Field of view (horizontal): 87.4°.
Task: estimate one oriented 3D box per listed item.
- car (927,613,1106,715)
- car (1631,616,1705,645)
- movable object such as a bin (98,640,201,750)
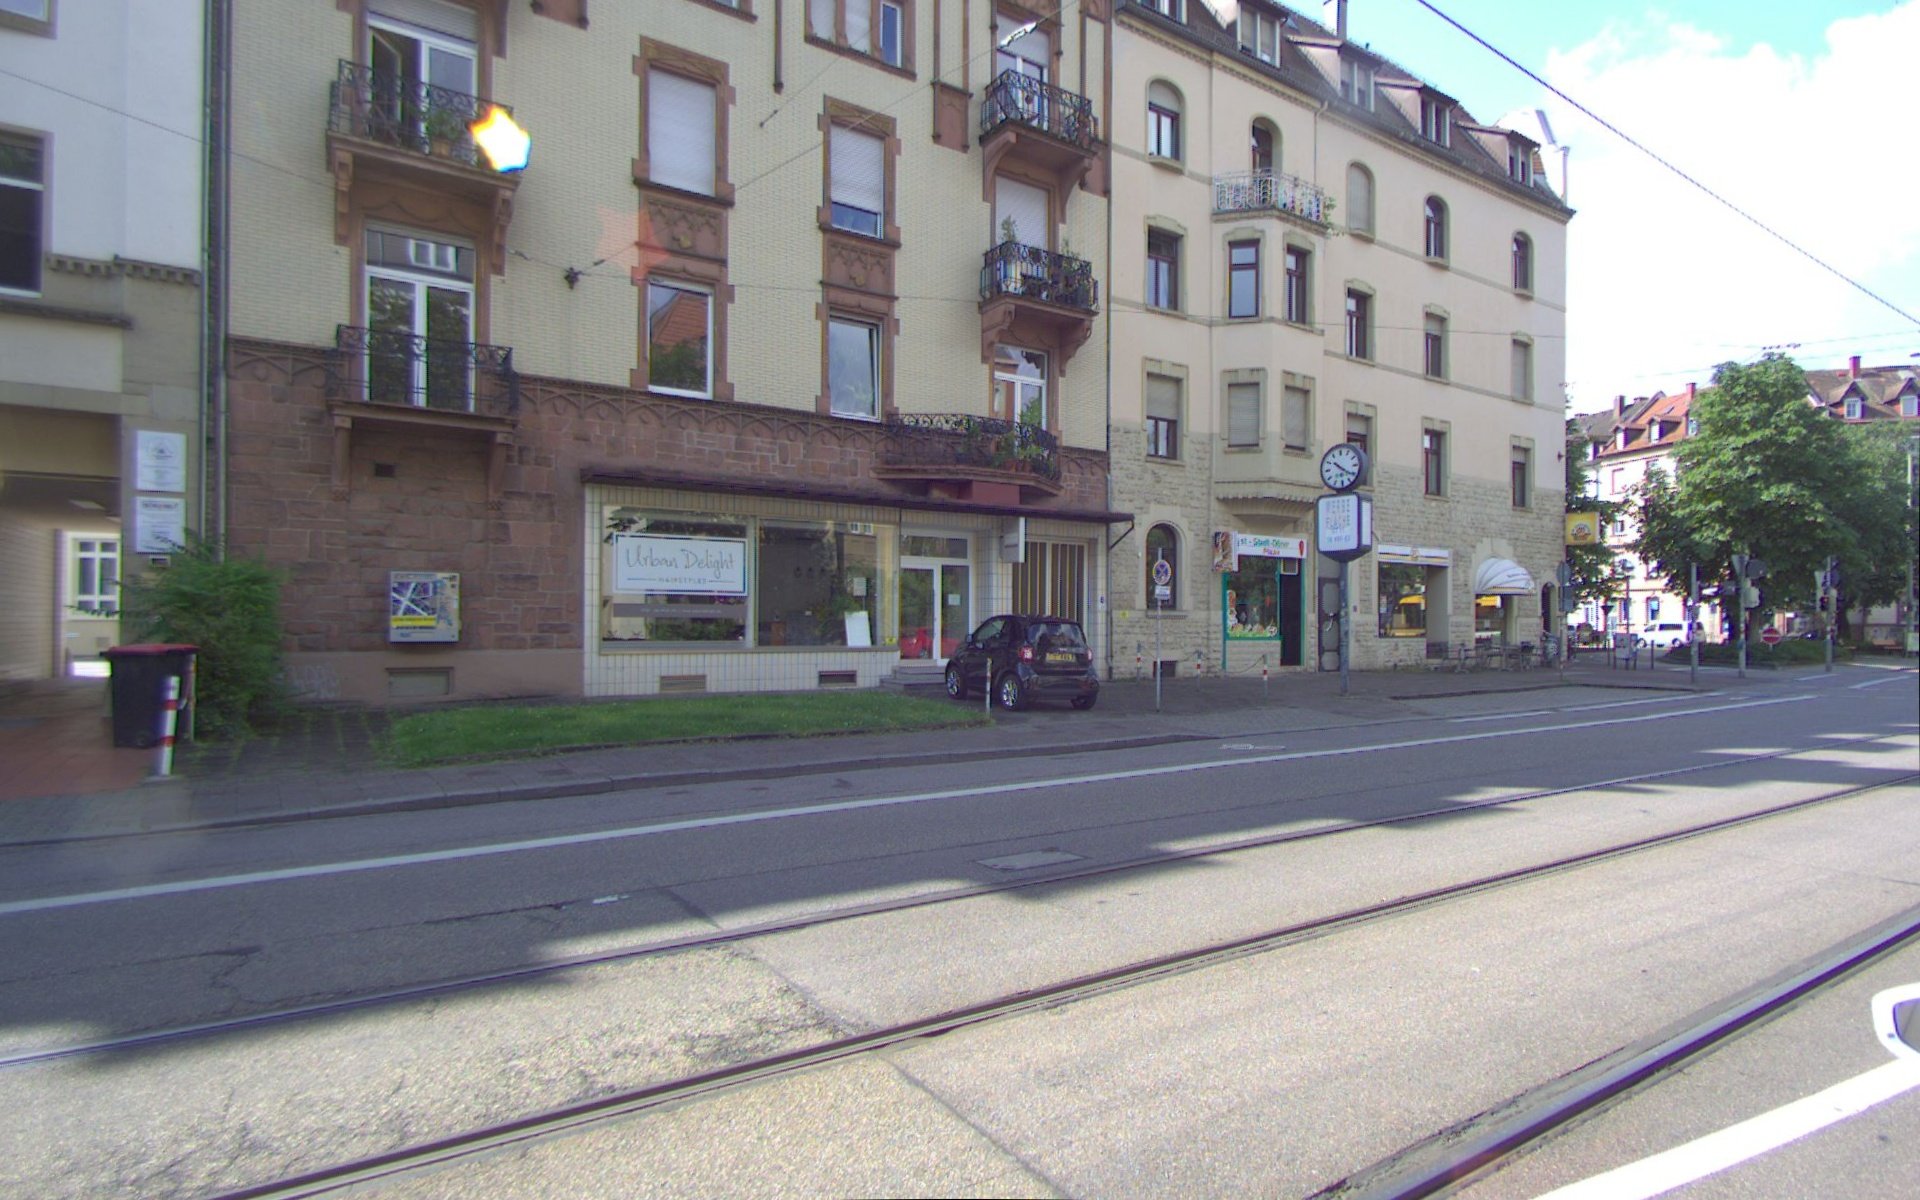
[{"bbox_3d":[0.901,1.041,17.591,1.659,1.533,3.221,1,0,-29],"label":"car"},{"bbox_3d":[53.521,2.350,76.047,1.972,2.039,4.112,0,-4,-23],"label":"car"},{"bbox_3d":[-8.623,0.999,10.710,0.595,1.084,0.597,2,1,1],"label":"movable object such as a bin"}]
